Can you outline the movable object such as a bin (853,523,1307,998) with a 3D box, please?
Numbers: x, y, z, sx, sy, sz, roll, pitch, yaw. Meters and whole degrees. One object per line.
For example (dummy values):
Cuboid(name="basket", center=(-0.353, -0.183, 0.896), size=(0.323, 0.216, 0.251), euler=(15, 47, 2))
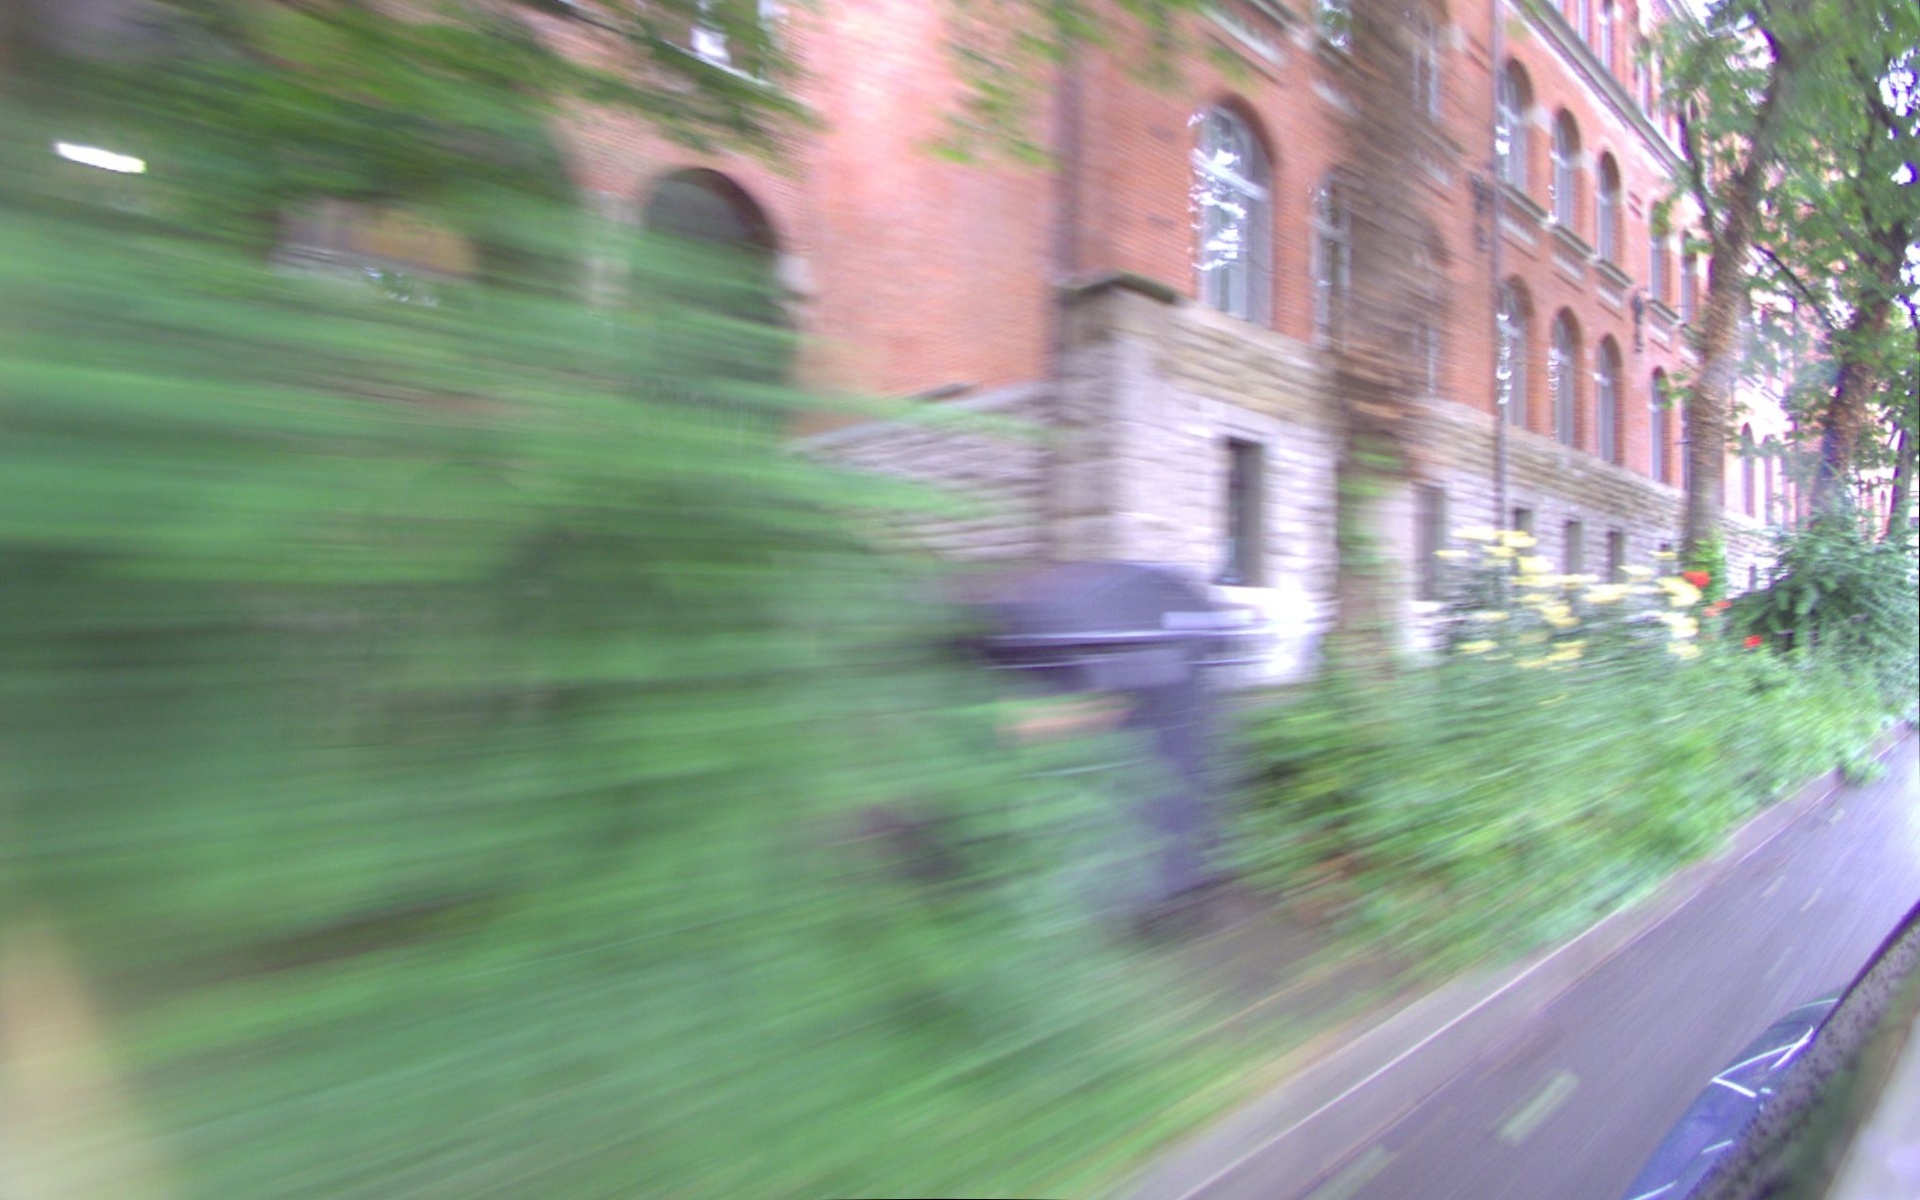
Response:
Cuboid(name="movable object such as a bin", center=(0.388, 0.484, 4.018), size=(1.191, 1.471, 1.408), euler=(1, 1, -25))
